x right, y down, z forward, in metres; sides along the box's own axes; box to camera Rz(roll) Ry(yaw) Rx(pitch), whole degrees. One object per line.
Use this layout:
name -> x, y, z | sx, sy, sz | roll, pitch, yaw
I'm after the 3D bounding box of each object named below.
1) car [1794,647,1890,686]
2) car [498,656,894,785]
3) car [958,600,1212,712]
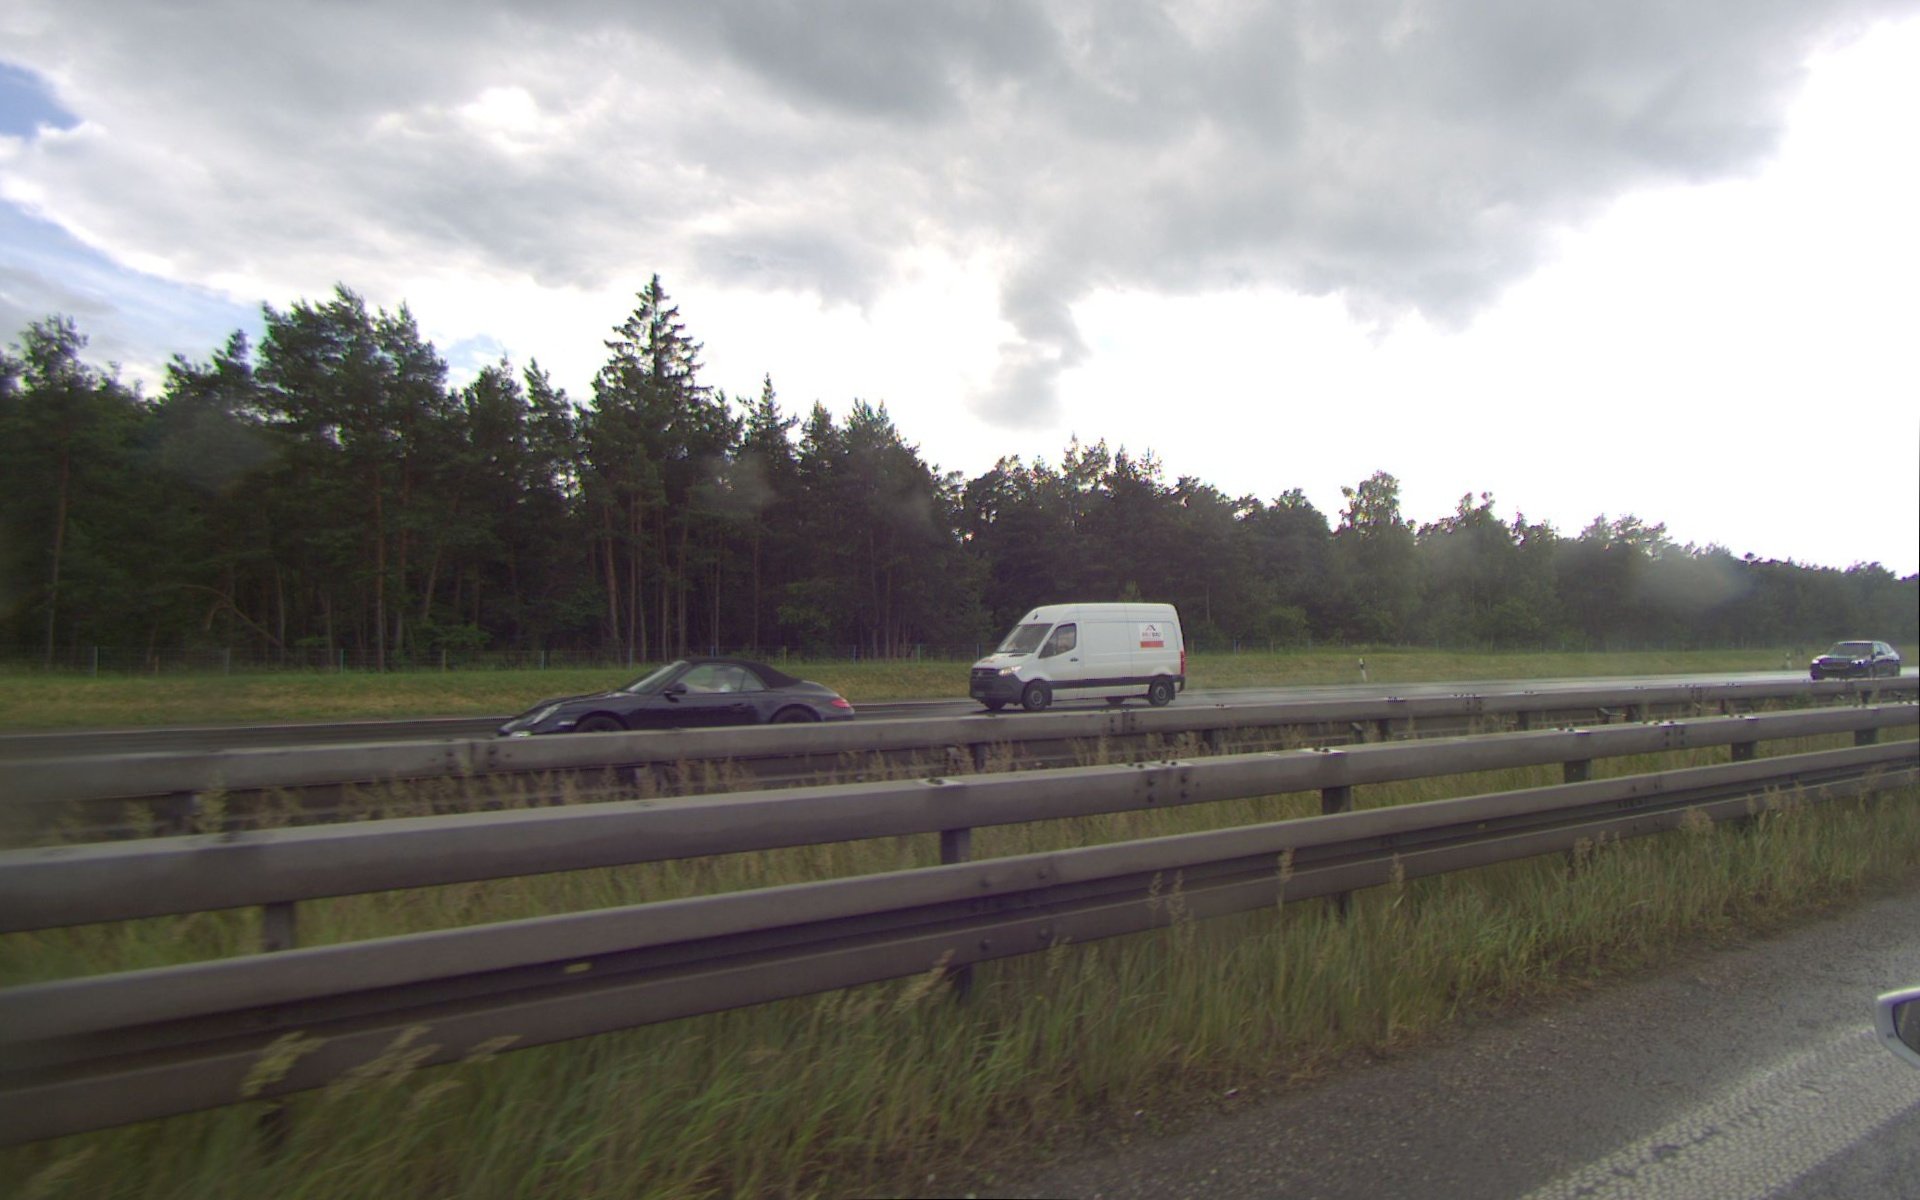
car -> 35.492, 2.643, 40.415 | 3.956, 1.491, 1.865 | 2, -3, -32
car -> -3.265, 1.409, 12.770 | 4.613, 1.342, 1.690 | 1, -3, -30
car -> 3.268, 1.392, 25.530 | 6.507, 2.543, 2.089 | 1, -3, -30
